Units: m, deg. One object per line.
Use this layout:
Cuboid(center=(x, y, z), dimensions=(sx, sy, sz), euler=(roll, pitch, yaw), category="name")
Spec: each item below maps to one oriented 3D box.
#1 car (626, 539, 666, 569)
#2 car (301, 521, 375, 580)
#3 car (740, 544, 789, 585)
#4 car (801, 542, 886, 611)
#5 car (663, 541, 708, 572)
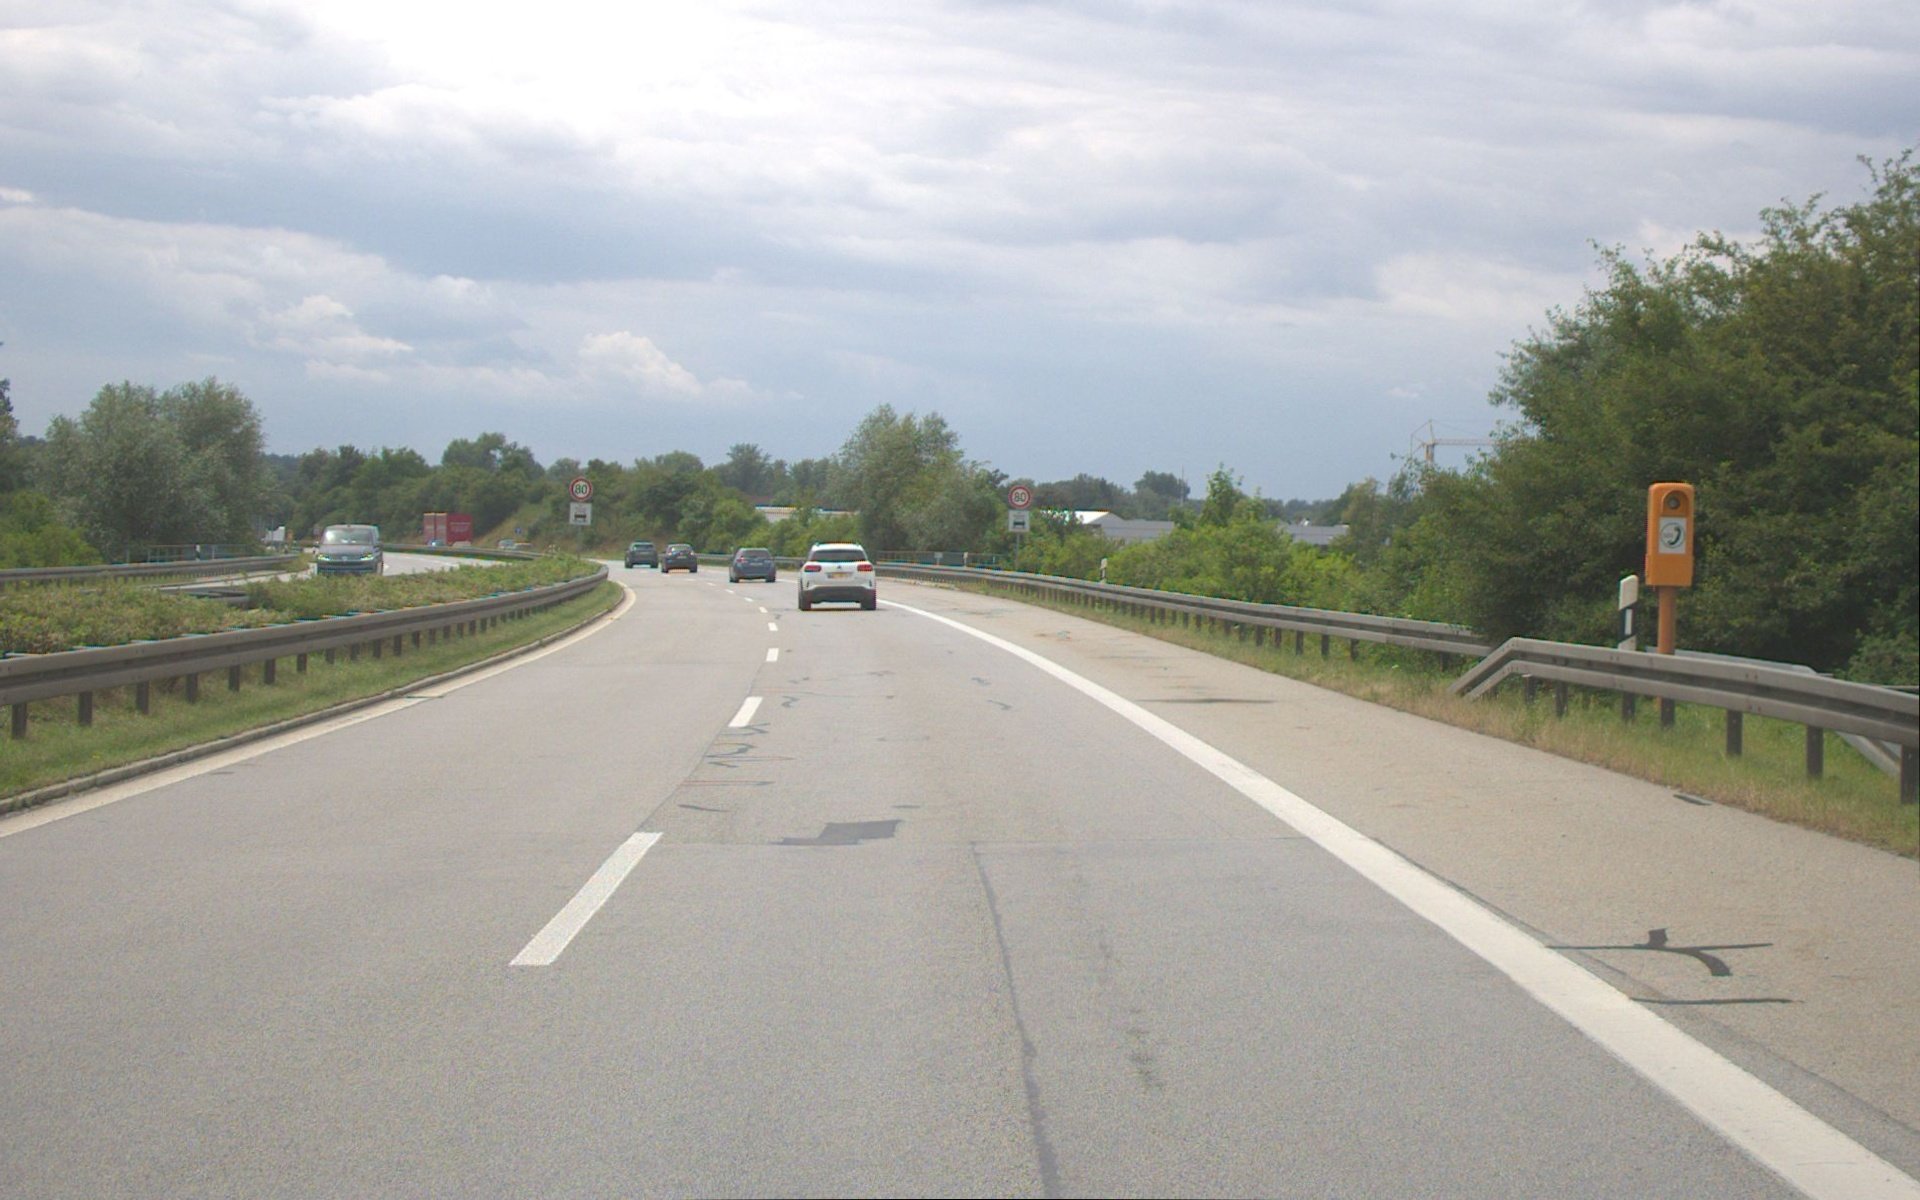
Cuboid(center=(-19.643, -2.874, 214.809), dimensions=(1.826, 1.788, 4.415), euler=(1, 1, -14), category="car")
Cuboid(center=(-20.516, -1.646, 113.565), dimensions=(1.700, 1.878, 5.228), euler=(1, 1, -3), category="car")
Cuboid(center=(-8.185, -1.483, 143.640), dimensions=(1.892, 1.634, 4.623), euler=(1, 1, -5), category="car")
Cuboid(center=(-2.944, -0.604, 85.946), dimensions=(1.902, 1.634, 4.397), euler=(1, 1, -5), category="car")
Cuboid(center=(-14.967, -2.362, 187.052), dimensions=(1.902, 1.634, 4.781), euler=(1, 1, -11), category="car")
